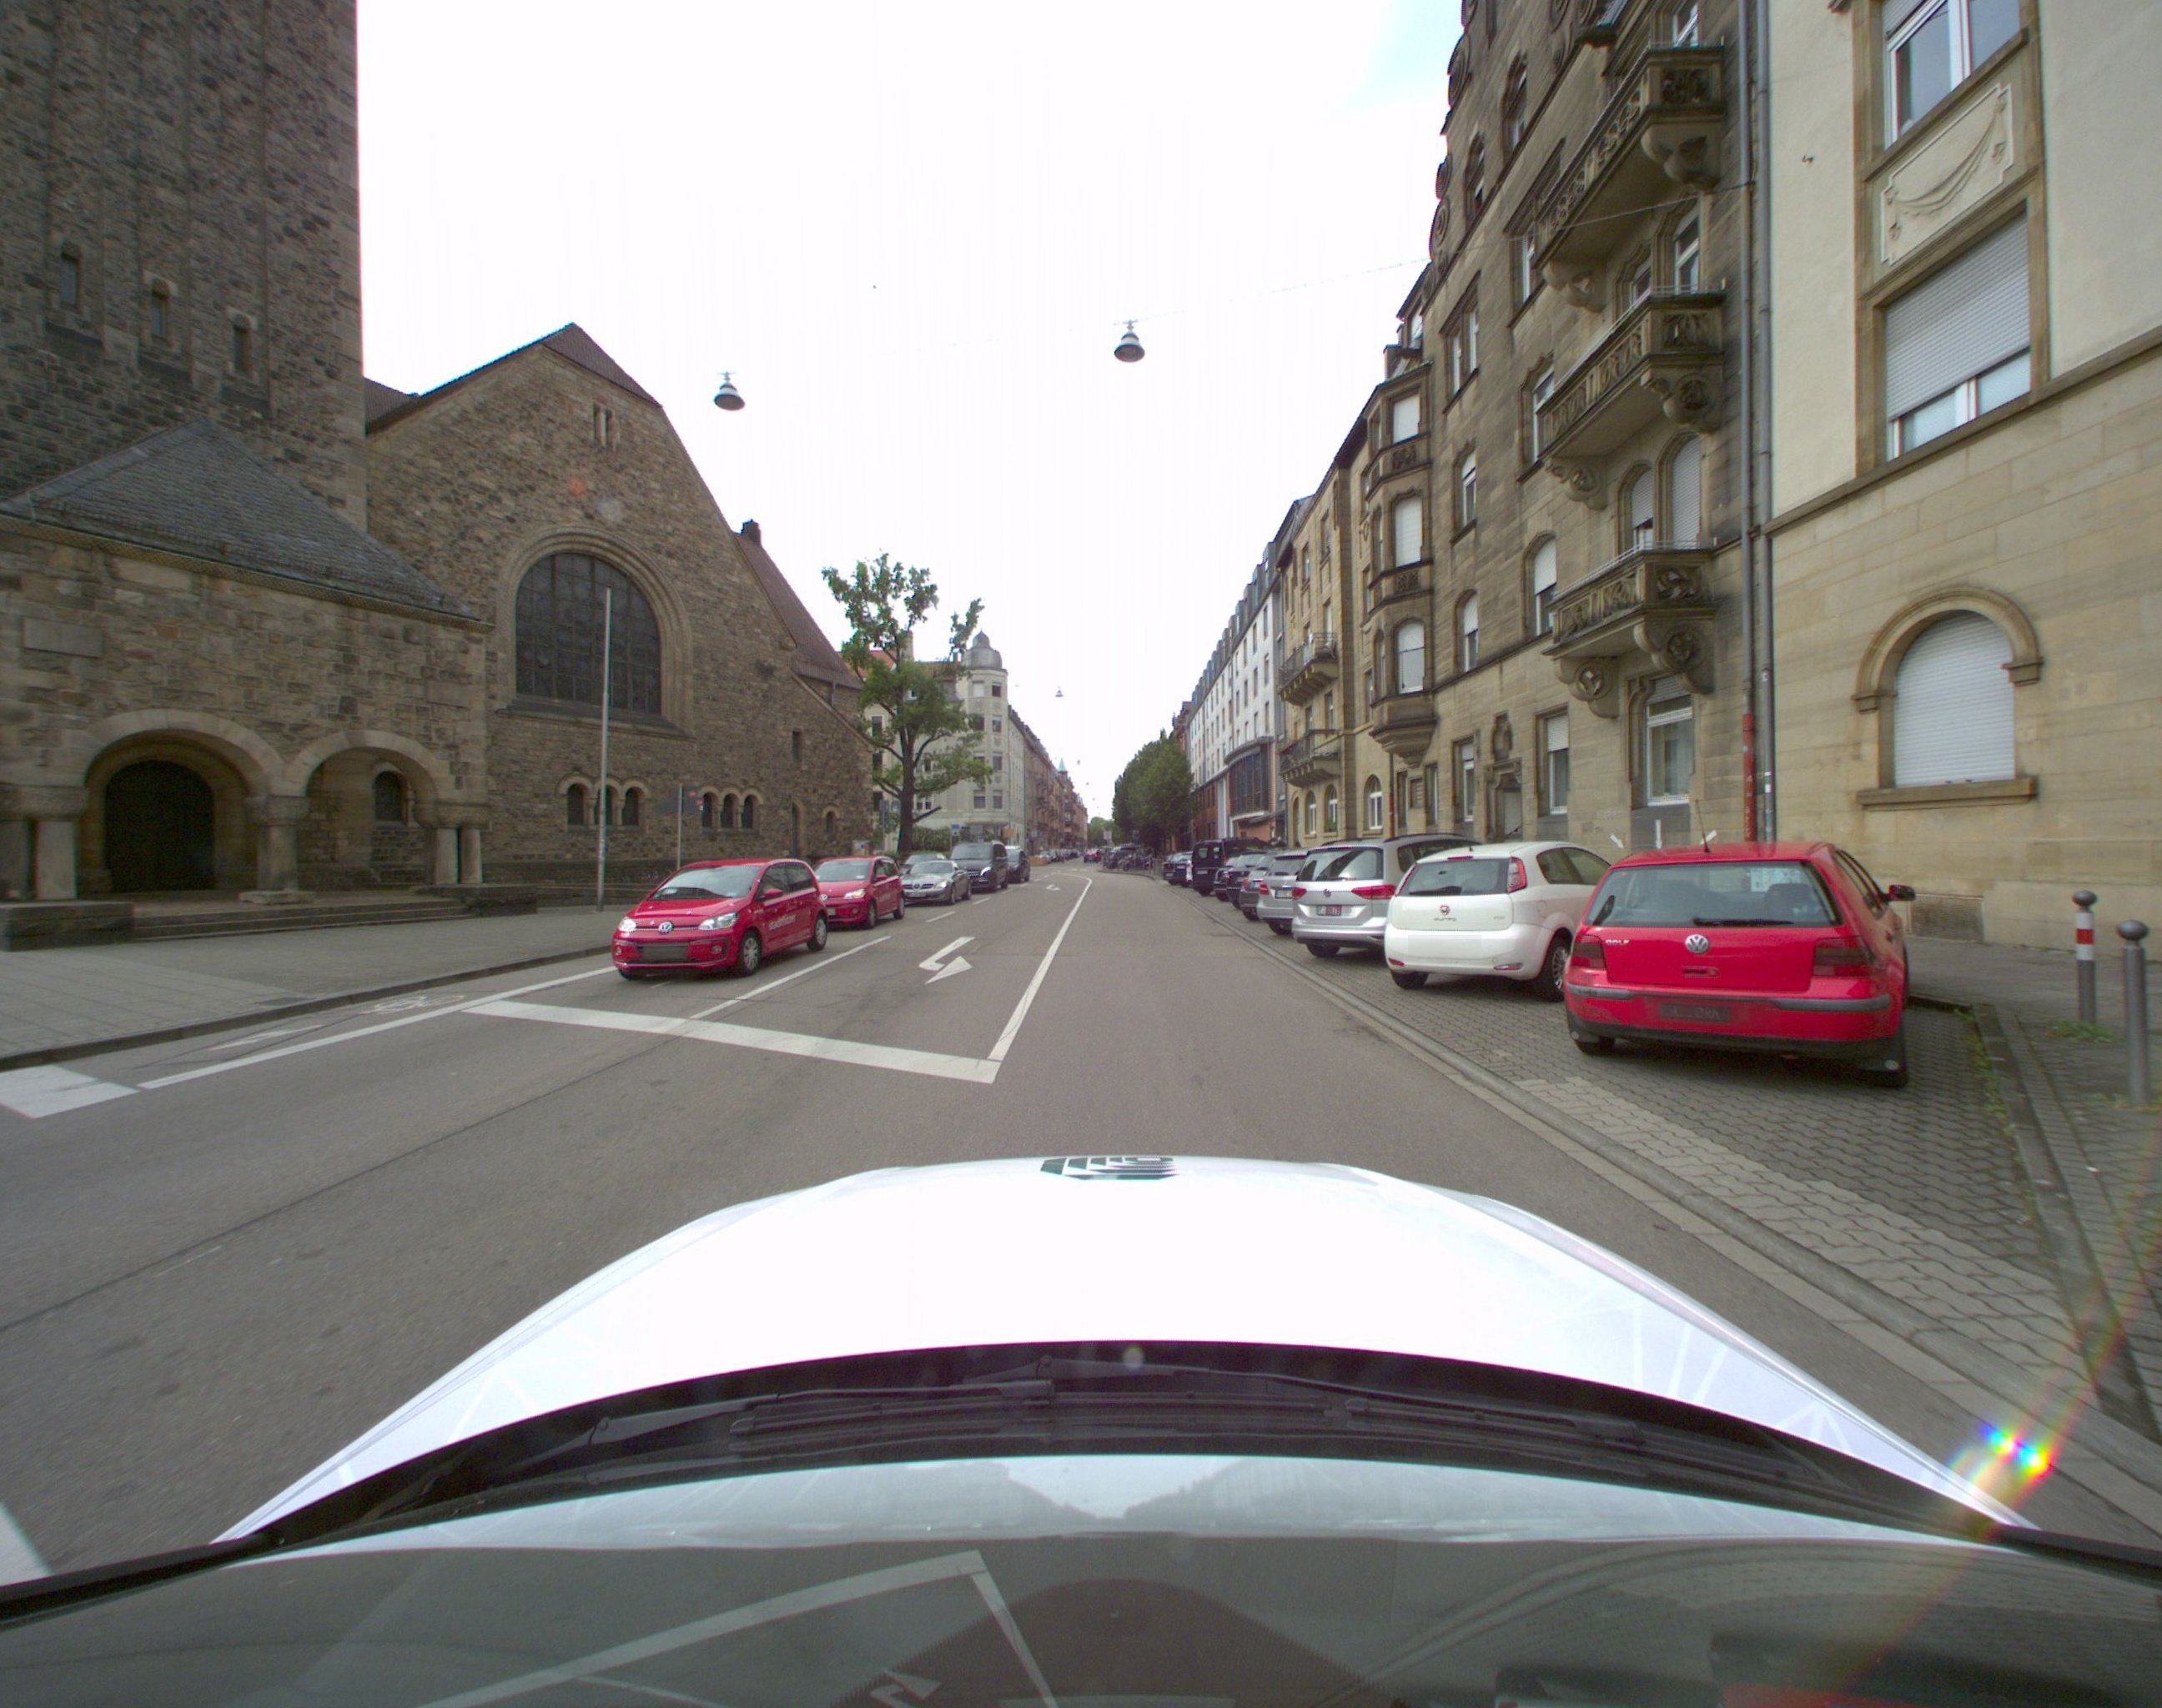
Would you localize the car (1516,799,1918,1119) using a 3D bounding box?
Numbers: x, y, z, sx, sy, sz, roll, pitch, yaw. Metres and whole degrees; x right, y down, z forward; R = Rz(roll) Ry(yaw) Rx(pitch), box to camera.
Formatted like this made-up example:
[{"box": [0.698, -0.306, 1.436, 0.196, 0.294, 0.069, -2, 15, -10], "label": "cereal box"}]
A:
[{"box": [4.942, 0.496, 6.135, 3.857, 1.561, 1.772, -5, 0, -45], "label": "car"}]

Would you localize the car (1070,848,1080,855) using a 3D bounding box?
[{"box": [-1.306, -0.541, 168.540, 1.988, 1.321, 3.997, -1, -1, -1], "label": "car"}]

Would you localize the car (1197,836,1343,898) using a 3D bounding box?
[{"box": [5.706, 0.373, 24.391, 4.091, 1.453, 2.009, -6, 1, -37], "label": "car"}]

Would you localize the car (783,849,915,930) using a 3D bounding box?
[{"box": [-4.801, 0.686, 17.381, 1.596, 1.457, 3.719, -3, 0, 1], "label": "car"}]

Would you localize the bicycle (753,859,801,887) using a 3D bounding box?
[{"box": [-12.914, 0.802, 34.585, 1.765, 1.166, 0.744, -1, 0, 14], "label": "bicycle"}]

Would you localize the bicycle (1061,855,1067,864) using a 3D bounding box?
[{"box": [-2.010, 0.647, 96.227, 0.565, 1.087, 1.988, -1, 1, 3], "label": "bicycle"}]

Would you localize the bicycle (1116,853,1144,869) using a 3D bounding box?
[{"box": [3.483, 0.487, 57.759, 1.924, 1.043, 0.611, -2, -1, -2], "label": "bicycle"}]

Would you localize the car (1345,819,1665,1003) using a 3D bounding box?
[{"box": [4.806, 0.495, 9.070, 3.607, 1.508, 1.827, -5, 0, -40], "label": "car"}]

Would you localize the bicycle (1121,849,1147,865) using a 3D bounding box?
[{"box": [3.970, 0.238, 61.388, 1.878, 1.141, 0.611, -2, -1, -2], "label": "bicycle"}]

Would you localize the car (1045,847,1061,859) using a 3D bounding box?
[{"box": [-3.703, -0.163, 107.922, 1.936, 1.617, 3.944, 0, 0, 2], "label": "car"}]

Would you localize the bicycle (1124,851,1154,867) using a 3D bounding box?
[{"box": [4.052, 0.349, 56.964, 2.003, 1.062, 0.611, -2, -1, -2], "label": "bicycle"}]

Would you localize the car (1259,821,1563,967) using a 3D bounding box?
[{"box": [4.820, 0.463, 11.754, 4.240, 1.682, 1.896, -3, 0, -32], "label": "car"}]

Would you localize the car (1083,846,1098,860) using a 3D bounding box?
[{"box": [1.225, -0.121, 104.620, 1.987, 1.681, 4.000, -1, -1, 1], "label": "car"}]

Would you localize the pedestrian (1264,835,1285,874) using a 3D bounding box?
[{"box": [8.867, 0.025, 37.392, 0.628, 1.753, 0.811, -4, 0, -1], "label": "pedestrian"}]

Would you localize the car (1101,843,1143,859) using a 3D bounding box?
[{"box": [5.427, -0.390, 107.452, 5.424, 1.992, 1.930, -2, 0, -32], "label": "car"}]

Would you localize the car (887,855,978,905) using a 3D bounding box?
[{"box": [-4.340, 0.711, 24.367, 1.697, 1.286, 4.045, -3, 0, 3], "label": "car"}]

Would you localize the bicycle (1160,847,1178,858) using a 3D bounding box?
[{"box": [8.898, -0.122, 82.070, 1.746, 1.092, 0.565, -1, -1, 1], "label": "bicycle"}]

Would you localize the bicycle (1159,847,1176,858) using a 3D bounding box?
[{"box": [8.797, -0.112, 82.748, 1.746, 1.092, 0.565, -1, -1, 1], "label": "bicycle"}]

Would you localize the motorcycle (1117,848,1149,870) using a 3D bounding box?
[{"box": [3.576, 0.359, 55.881, 2.128, 1.429, 0.770, -2, -1, -2], "label": "motorcycle"}]

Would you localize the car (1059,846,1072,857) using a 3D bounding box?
[{"box": [-2.538, -0.391, 136.004, 1.936, 1.741, 3.944, 0, 0, 2], "label": "car"}]

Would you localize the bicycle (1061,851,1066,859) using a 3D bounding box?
[{"box": [-2.158, 0.186, 101.384, 0.533, 0.977, 1.865, -1, -1, 1], "label": "bicycle"}]

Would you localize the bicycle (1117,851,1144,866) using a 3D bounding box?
[{"box": [3.586, 0.323, 59.397, 1.878, 1.043, 0.611, -2, -1, -2], "label": "bicycle"}]

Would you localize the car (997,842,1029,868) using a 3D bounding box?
[{"box": [-5.279, 0.062, 63.632, 1.835, 1.939, 4.553, 0, 1, 4], "label": "car"}]

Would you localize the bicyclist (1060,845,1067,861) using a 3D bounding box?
[{"box": [-2.053, -0.089, 96.341, 0.779, 1.866, 0.715, -1, 0, 3], "label": "bicyclist"}]

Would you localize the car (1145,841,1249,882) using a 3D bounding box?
[{"box": [5.174, 0.316, 36.209, 4.265, 1.478, 1.672, -4, 2, -23], "label": "car"}]

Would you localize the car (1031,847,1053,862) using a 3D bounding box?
[{"box": [-4.296, 0.076, 91.243, 1.935, 1.553, 3.822, -2, 0, 4], "label": "car"}]

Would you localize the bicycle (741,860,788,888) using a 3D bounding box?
[{"box": [-13.130, 0.833, 33.802, 1.765, 1.130, 0.664, -1, 0, 14], "label": "bicycle"}]

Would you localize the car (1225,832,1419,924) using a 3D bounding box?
[{"box": [5.418, 0.450, 18.016, 4.487, 1.573, 1.728, -5, 2, -37], "label": "car"}]

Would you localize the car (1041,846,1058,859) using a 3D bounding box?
[{"box": [-3.953, -0.137, 102.450, 1.936, 1.617, 3.944, 0, 0, 2], "label": "car"}]

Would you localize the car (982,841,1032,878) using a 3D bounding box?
[{"box": [-3.564, 0.236, 40.020, 1.837, 1.684, 4.551, -1, 1, 2], "label": "car"}]

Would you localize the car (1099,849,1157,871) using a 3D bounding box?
[{"box": [3.806, 0.476, 65.712, 4.302, 1.578, 1.845, -3, 1, -32], "label": "car"}]

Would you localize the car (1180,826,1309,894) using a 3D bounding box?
[{"box": [5.511, 0.160, 27.244, 4.305, 1.906, 1.858, -5, 2, -40], "label": "car"}]

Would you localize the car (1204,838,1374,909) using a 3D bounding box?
[{"box": [5.460, 0.450, 21.129, 4.486, 1.552, 1.831, -3, 0, -37], "label": "car"}]

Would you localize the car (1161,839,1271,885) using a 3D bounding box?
[{"box": [5.495, 0.302, 33.094, 4.010, 1.533, 1.915, -5, 2, -28], "label": "car"}]

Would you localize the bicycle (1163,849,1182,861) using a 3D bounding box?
[{"box": [8.710, 0.091, 77.684, 1.746, 1.092, 0.565, -1, -1, 1], "label": "bicycle"}]

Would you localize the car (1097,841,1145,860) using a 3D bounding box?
[{"box": [4.899, -0.441, 99.351, 5.646, 2.127, 1.930, -2, 0, -32], "label": "car"}]

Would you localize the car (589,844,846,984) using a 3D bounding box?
[{"box": [-4.807, 0.677, 11.454, 1.642, 1.528, 3.896, -3, 1, 2], "label": "car"}]

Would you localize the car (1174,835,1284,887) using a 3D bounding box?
[{"box": [5.547, 0.236, 30.380, 4.020, 1.601, 1.745, -5, 2, -38], "label": "car"}]

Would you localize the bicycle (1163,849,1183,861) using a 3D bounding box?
[{"box": [8.517, 0.077, 75.479, 1.829, 1.092, 0.543, -1, -1, 1], "label": "bicycle"}]

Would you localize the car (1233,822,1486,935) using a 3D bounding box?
[{"box": [5.263, 0.369, 15.134, 4.772, 1.685, 1.916, -3, 0, -35], "label": "car"}]

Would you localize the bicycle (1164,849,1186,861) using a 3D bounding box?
[{"box": [8.530, 0.074, 74.063, 1.926, 1.092, 0.577, -1, -1, 1], "label": "bicycle"}]

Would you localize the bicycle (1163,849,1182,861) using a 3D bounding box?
[{"box": [8.646, 0.088, 76.800, 1.746, 1.092, 0.565, -1, -1, 1], "label": "bicycle"}]

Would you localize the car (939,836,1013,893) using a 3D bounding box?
[{"box": [-3.904, 0.333, 31.091, 1.904, 1.954, 5.287, -1, 1, 2], "label": "car"}]

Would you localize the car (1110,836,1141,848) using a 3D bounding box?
[{"box": [8.024, -2.206, 147.859, 5.417, 1.868, 1.933, -2, 0, -28], "label": "car"}]

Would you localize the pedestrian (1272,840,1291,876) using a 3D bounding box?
[{"box": [8.658, 0.158, 35.107, 0.565, 1.529, 0.547, 0, -1, -41], "label": "pedestrian"}]
